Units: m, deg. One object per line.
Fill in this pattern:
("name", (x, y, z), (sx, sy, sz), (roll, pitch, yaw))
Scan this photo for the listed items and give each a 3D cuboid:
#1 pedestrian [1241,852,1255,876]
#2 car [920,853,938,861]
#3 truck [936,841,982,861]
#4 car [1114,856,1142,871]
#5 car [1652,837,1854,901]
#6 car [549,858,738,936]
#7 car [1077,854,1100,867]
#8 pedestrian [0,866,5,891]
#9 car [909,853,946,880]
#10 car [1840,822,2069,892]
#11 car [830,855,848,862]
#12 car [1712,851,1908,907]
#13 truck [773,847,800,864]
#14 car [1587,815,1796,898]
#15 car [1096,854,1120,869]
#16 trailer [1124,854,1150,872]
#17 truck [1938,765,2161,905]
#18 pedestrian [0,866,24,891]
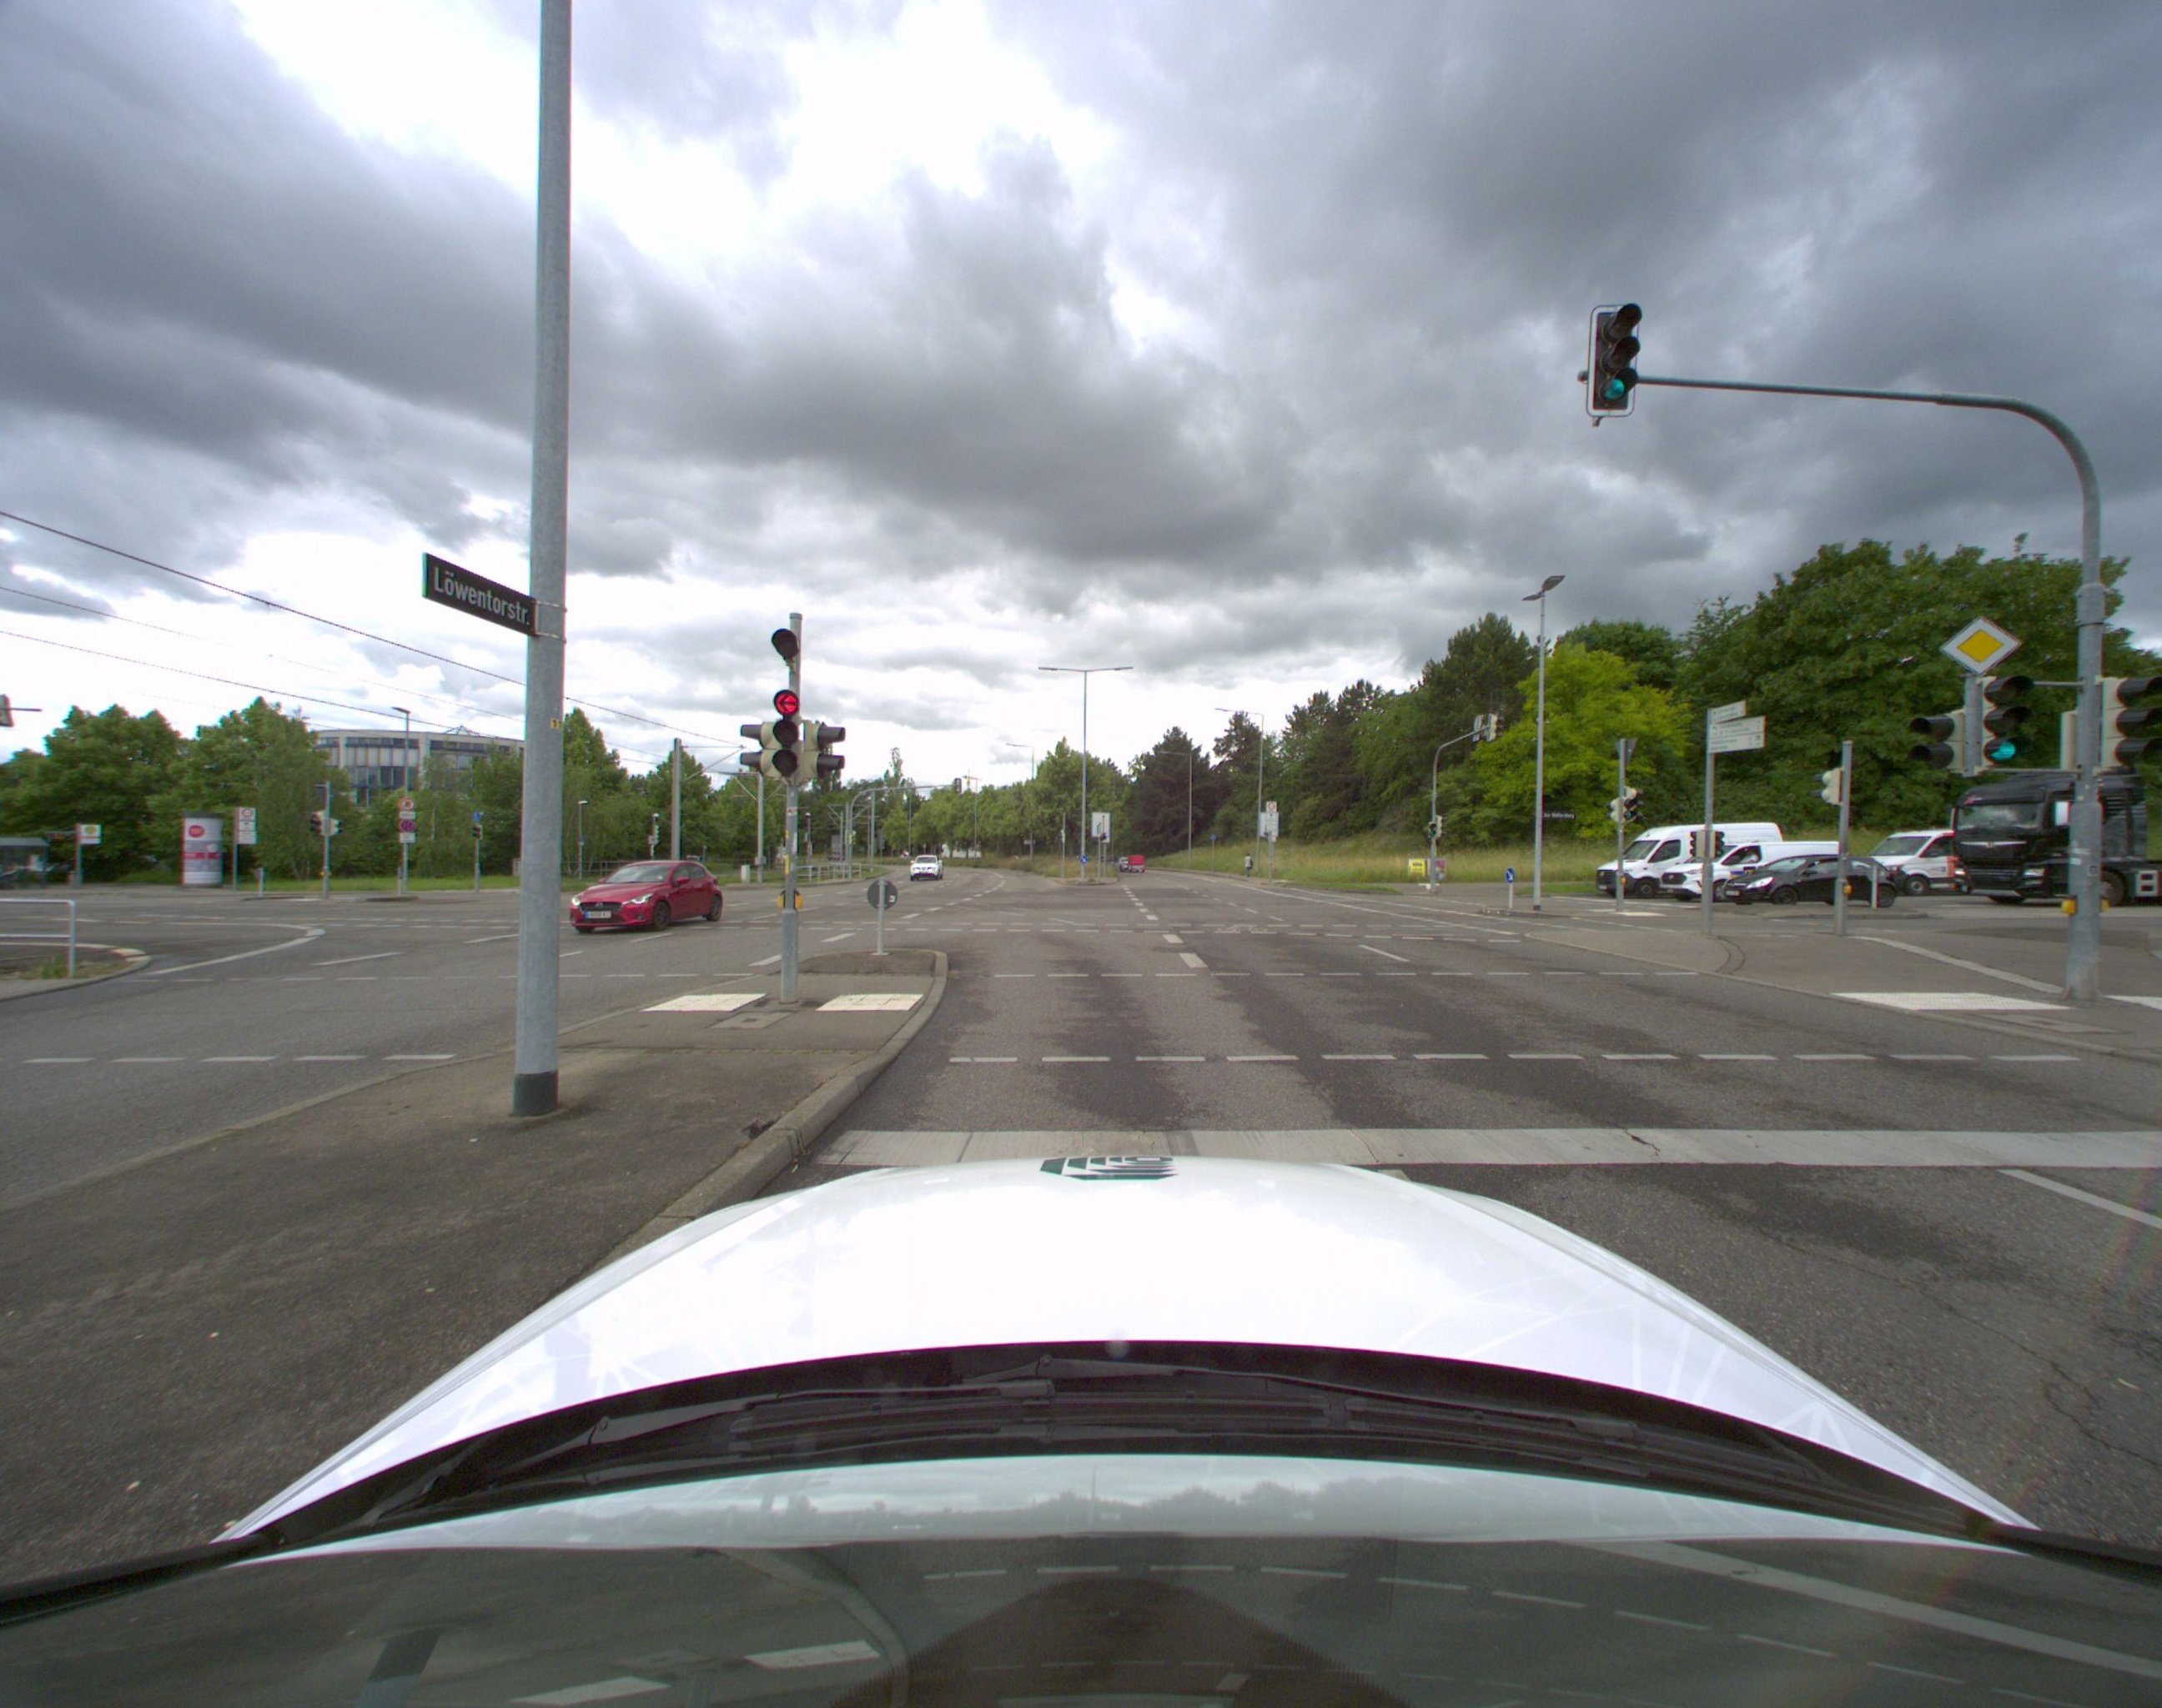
("pedestrian", (11.367, 0.682, 55.357), (0.811, 1.627, 0.791), (0, 0, 1))
("car", (-33.261, 0.676, 178.405), (1.761, 1.546, 4.050), (0, 0, 32))
("truck", (-20.930, -0.463, 138.959), (2.761, 3.328, 11.279), (-1, 0, -37))
("car", (4.591, 0.936, 80.520), (1.778, 1.421, 4.443), (-1, 0, -10))
("car", (21.584, 0.458, 26.324), (4.836, 1.896, 2.034), (-1, 0, 1))
("car", (-9.423, 0.843, 18.005), (1.775, 1.443, 4.424), (-1, 0, 0))
("car", (0.908, 0.818, 100.117), (1.781, 1.546, 4.004), (-1, 0, -15))
("pedestrian", (-57.781, 1.295, 43.150), (0.774, 1.303, 0.666), (0, 0, 15))
("car", (-9.730, 0.761, 51.910), (1.826, 1.629, 4.417), (-1, 0, -5))
("car", (30.675, 0.111, 28.758), (5.677, 2.289, 2.136), (-1, 0, 2))
("car", (-49.733, 0.894, 167.375), (3.973, 1.546, 1.795), (0, 0, 40))
("car", (20.272, 0.670, 22.768), (3.905, 1.436, 1.732), (-1, 0, 1))
("truck", (-57.255, 0.327, 158.209), (5.823, 3.135, 2.136), (-1, -1, 36))
("car", (21.890, 0.096, 29.404), (5.870, 2.781, 2.136), (-1, 0, 2))
("car", (2.942, 0.804, 90.186), (1.779, 1.546, 4.010), (0, 0, -11))
("trailer", (5.225, 0.835, 76.838), (1.765, 1.616, 3.033), (0, 0, -10))
("truck", (27.927, -0.514, 22.265), (6.027, 3.538, 2.729), (-1, 0, 2))
("pedestrian", (-56.417, 1.273, 42.892), (0.774, 1.304, 0.666), (0, 0, 15))
